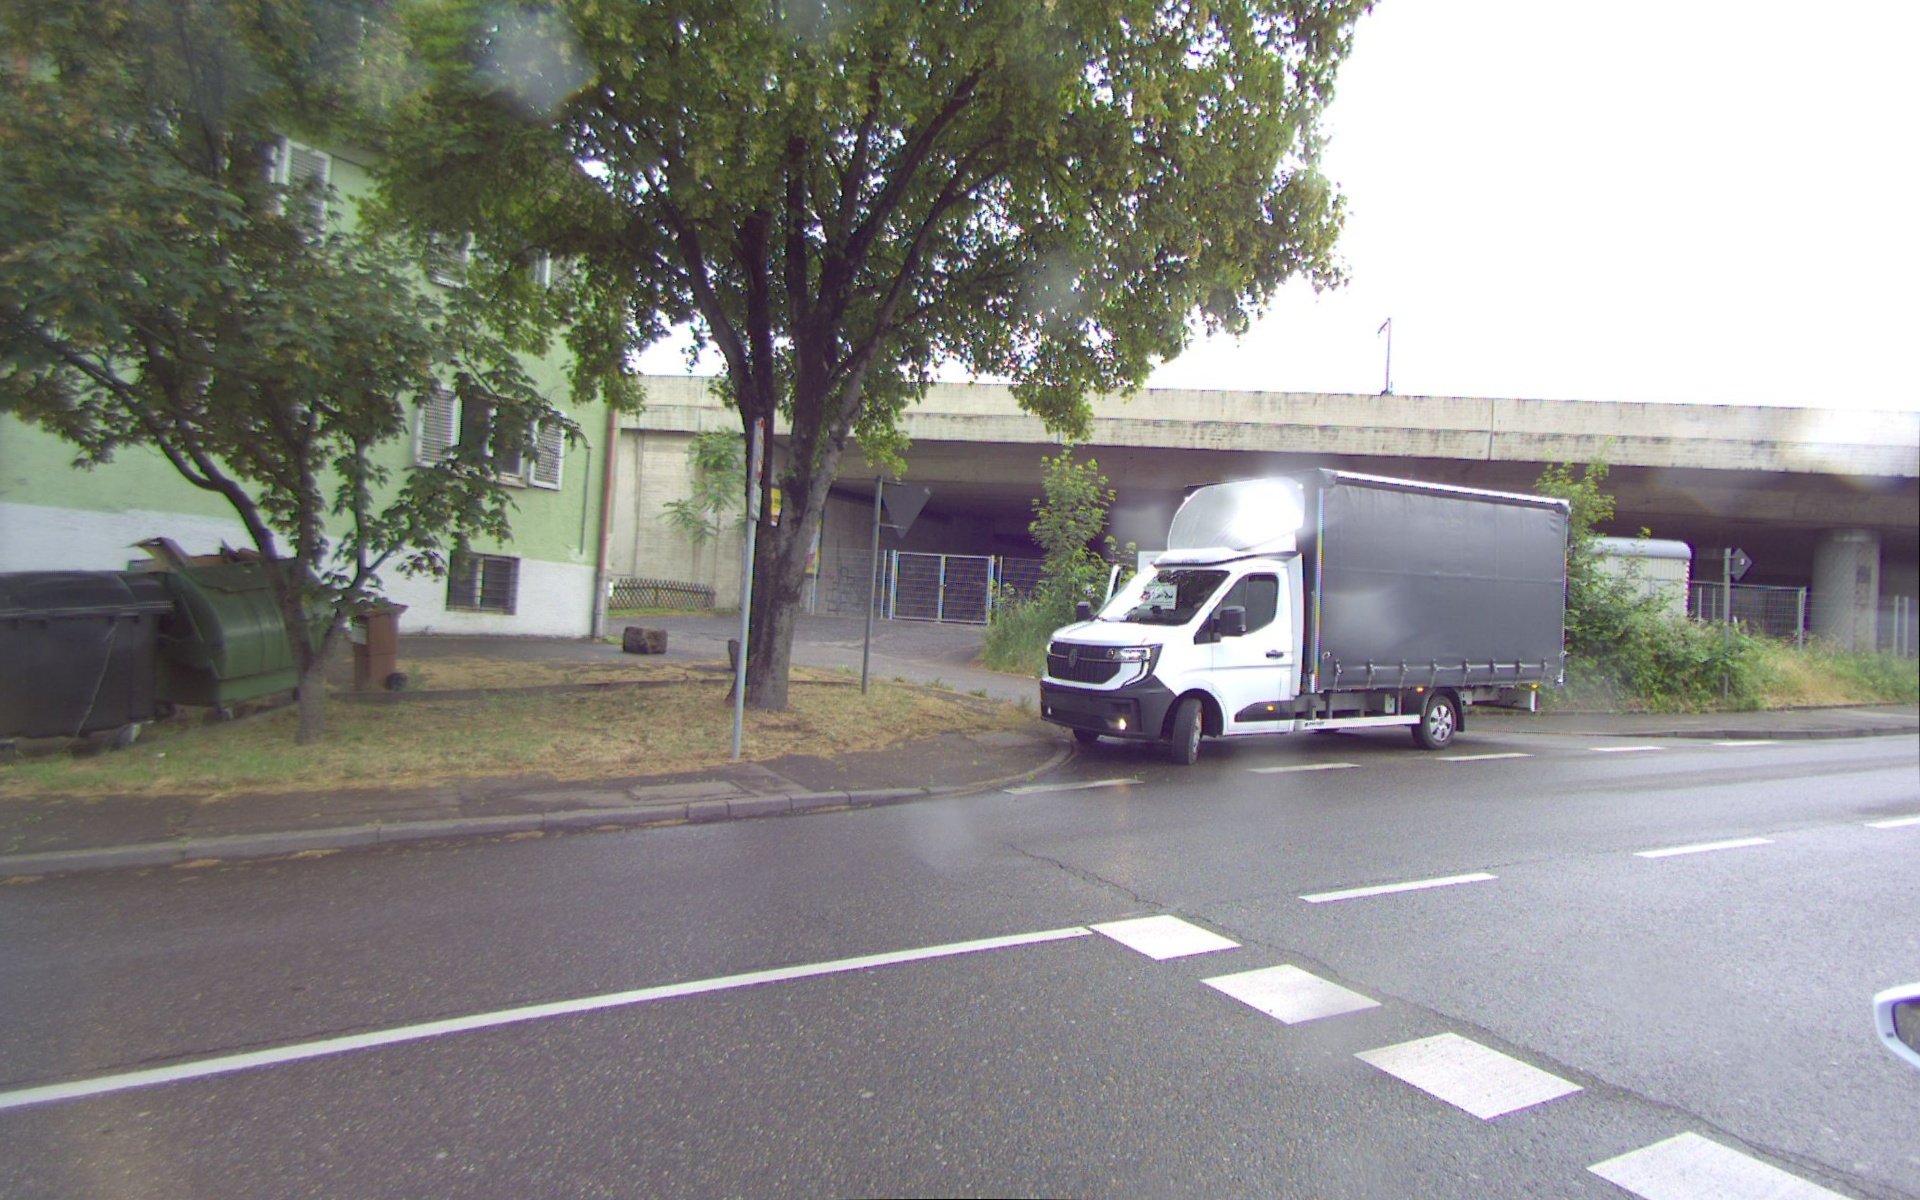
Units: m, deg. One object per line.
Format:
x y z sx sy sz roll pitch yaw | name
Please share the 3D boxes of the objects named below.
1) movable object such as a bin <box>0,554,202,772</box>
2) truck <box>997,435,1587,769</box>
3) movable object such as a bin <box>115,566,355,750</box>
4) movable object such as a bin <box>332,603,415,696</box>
-7.298 0.418 8.060 1.268 1.457 1.463 5 5 13 | movable object such as a bin
4.460 0.177 12.860 7.681 3.279 2.599 3 -1 -29 | truck
-6.730 0.471 9.424 1.078 1.457 1.463 5 5 13 | movable object such as a bin
-6.355 0.532 10.906 0.715 0.970 0.554 3 -1 -30 | movable object such as a bin
